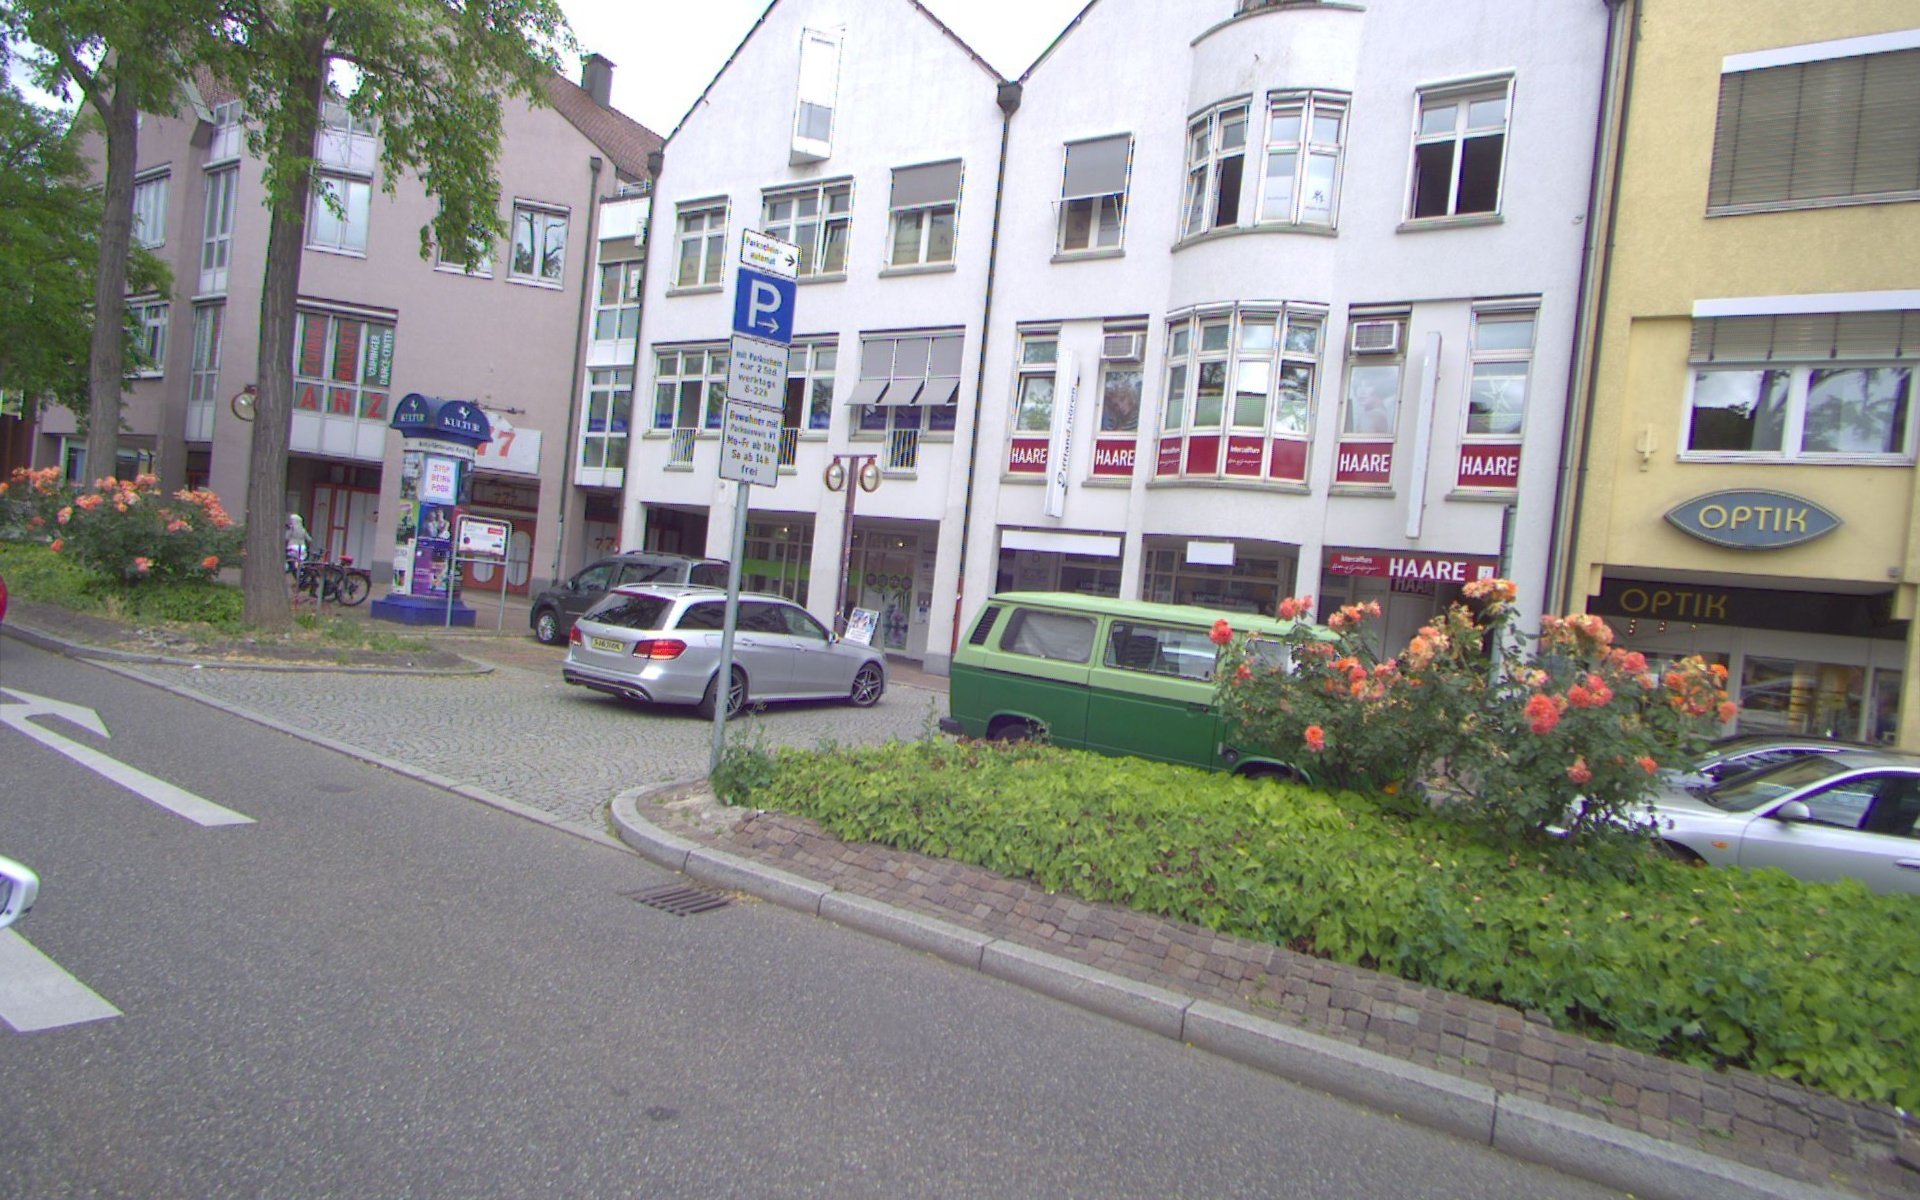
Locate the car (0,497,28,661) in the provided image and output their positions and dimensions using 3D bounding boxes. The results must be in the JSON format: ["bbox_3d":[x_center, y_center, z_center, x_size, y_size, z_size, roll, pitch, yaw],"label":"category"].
[{"bbox_3d":[-10.522,-0.439,9.415,3.581,1.465,1.630,7,-2,32],"label":"car"}]

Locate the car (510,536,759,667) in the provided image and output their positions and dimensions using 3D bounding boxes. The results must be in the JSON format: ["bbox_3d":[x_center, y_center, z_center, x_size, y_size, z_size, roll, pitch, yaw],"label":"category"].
[{"bbox_3d":[-5.877,0.004,18.045,4.188,1.827,1.736,7,1,29],"label":"car"}]

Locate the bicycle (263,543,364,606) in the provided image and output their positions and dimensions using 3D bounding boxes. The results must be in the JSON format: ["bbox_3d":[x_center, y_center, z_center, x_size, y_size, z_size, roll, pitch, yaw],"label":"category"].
[{"bbox_3d":[-12.790,-0.498,19.948,1.545,1.061,0.405,7,1,-17],"label":"bicycle"}]

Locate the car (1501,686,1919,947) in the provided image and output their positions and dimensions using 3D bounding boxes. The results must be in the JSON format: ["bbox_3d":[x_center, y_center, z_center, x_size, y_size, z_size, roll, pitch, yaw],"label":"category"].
[{"bbox_3d":[6.671,1.630,7.338,4.673,1.326,1.840,6,1,30],"label":"car"}]

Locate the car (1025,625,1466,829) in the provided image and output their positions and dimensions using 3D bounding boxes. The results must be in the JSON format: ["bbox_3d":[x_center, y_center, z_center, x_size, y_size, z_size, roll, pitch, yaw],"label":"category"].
[{"bbox_3d":[3.378,1.352,12.111,4.672,1.567,1.996,6,1,28],"label":"car"}]

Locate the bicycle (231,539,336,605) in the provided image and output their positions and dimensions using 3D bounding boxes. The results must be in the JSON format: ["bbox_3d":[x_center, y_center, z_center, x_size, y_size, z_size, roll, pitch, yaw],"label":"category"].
[{"bbox_3d":[-12.943,-0.533,19.277,1.545,1.061,0.405,7,1,-17],"label":"bicycle"}]

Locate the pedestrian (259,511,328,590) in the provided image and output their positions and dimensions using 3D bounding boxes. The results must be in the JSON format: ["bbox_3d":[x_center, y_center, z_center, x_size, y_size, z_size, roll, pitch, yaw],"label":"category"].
[{"bbox_3d":[-15.333,-1.134,23.150,1.075,1.647,0.809,7,1,29],"label":"pedestrian"}]

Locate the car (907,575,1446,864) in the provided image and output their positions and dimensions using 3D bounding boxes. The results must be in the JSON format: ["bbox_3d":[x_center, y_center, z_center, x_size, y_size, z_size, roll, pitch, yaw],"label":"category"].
[{"bbox_3d":[2.055,0.957,9.913,4.672,1.900,1.996,6,1,29],"label":"car"}]

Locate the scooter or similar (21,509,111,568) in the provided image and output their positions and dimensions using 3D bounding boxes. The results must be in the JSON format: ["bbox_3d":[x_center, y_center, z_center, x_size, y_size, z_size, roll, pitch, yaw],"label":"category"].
[{"bbox_3d":[-19.907,-1.367,22.398,1.852,1.101,0.471,6,1,14],"label":"scooter or similar"}]

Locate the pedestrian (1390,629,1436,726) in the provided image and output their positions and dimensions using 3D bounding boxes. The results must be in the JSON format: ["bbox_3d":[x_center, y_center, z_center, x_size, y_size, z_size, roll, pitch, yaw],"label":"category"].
[{"bbox_3d":[8.028,1.369,17.835,0.546,1.631,0.423,7,1,23],"label":"pedestrian"}]

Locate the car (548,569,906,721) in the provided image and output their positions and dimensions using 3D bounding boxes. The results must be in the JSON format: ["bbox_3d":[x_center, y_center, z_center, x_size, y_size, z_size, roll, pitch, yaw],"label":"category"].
[{"bbox_3d":[-2.774,0.597,13.131,1.711,1.472,4.643,7,0,31],"label":"car"}]
